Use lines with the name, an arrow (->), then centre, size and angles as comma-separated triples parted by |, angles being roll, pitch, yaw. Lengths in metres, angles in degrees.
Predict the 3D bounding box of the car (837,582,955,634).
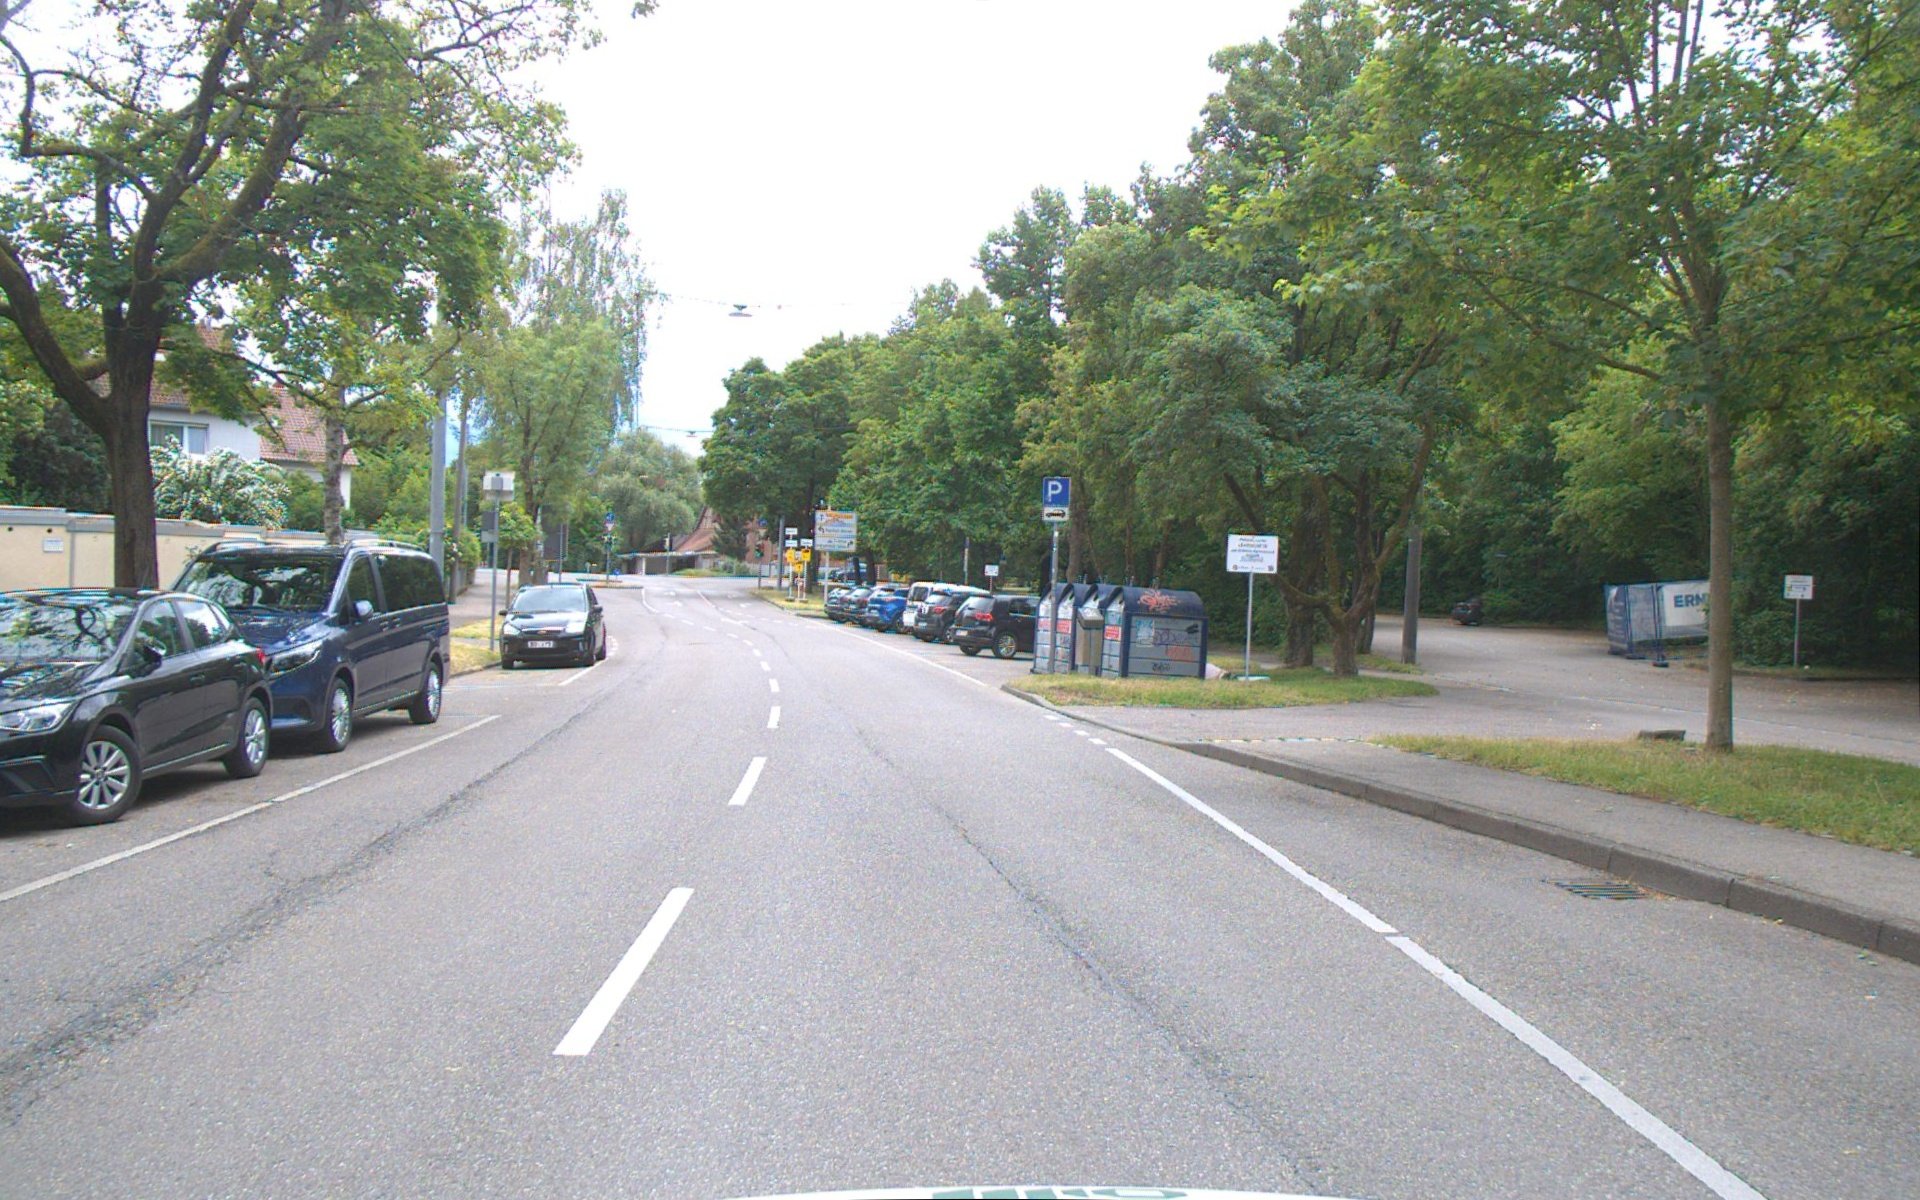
car -> -2.270, 0.298, 58.841 | 3.777, 1.555, 1.729 | 5, -1, -30

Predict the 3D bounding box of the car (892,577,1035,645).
car -> 0.118, 0.324, 49.443 | 3.777, 1.750, 1.860 | 4, -1, -30

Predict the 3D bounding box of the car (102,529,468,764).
car -> -6.426, 0.381, 16.447 | 1.821, 1.942, 5.079 | 1, 0, -4

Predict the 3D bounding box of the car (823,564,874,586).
car -> -9.337, -2.082, 138.936 | 3.806, 1.676, 1.979 | 1, 1, -31

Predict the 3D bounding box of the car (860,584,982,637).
car -> -1.344, 0.371, 56.987 | 3.777, 1.555, 1.729 | 5, -1, -30

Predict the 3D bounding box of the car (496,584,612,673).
car -> -7.947, 0.516, 32.676 | 1.771, 1.590, 4.259 | -2, 0, -8

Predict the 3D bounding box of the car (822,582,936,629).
car -> -3.022, 0.217, 61.968 | 3.831, 1.451, 1.812 | 5, -1, -30

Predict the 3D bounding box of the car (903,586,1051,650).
car -> 0.495, 0.509, 46.754 | 3.777, 1.493, 1.730 | 5, 0, -30

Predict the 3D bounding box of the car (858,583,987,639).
car -> -1.214, 0.360, 54.033 | 3.777, 1.555, 1.729 | 5, -1, -30

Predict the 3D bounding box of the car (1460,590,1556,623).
car -> 25.929, 0.299, 78.362 | 3.908, 1.434, 1.799 | 1, 0, -4

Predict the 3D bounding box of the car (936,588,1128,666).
car -> 1.677, 0.618, 38.451 | 3.944, 1.438, 2.038 | 5, 1, -30
